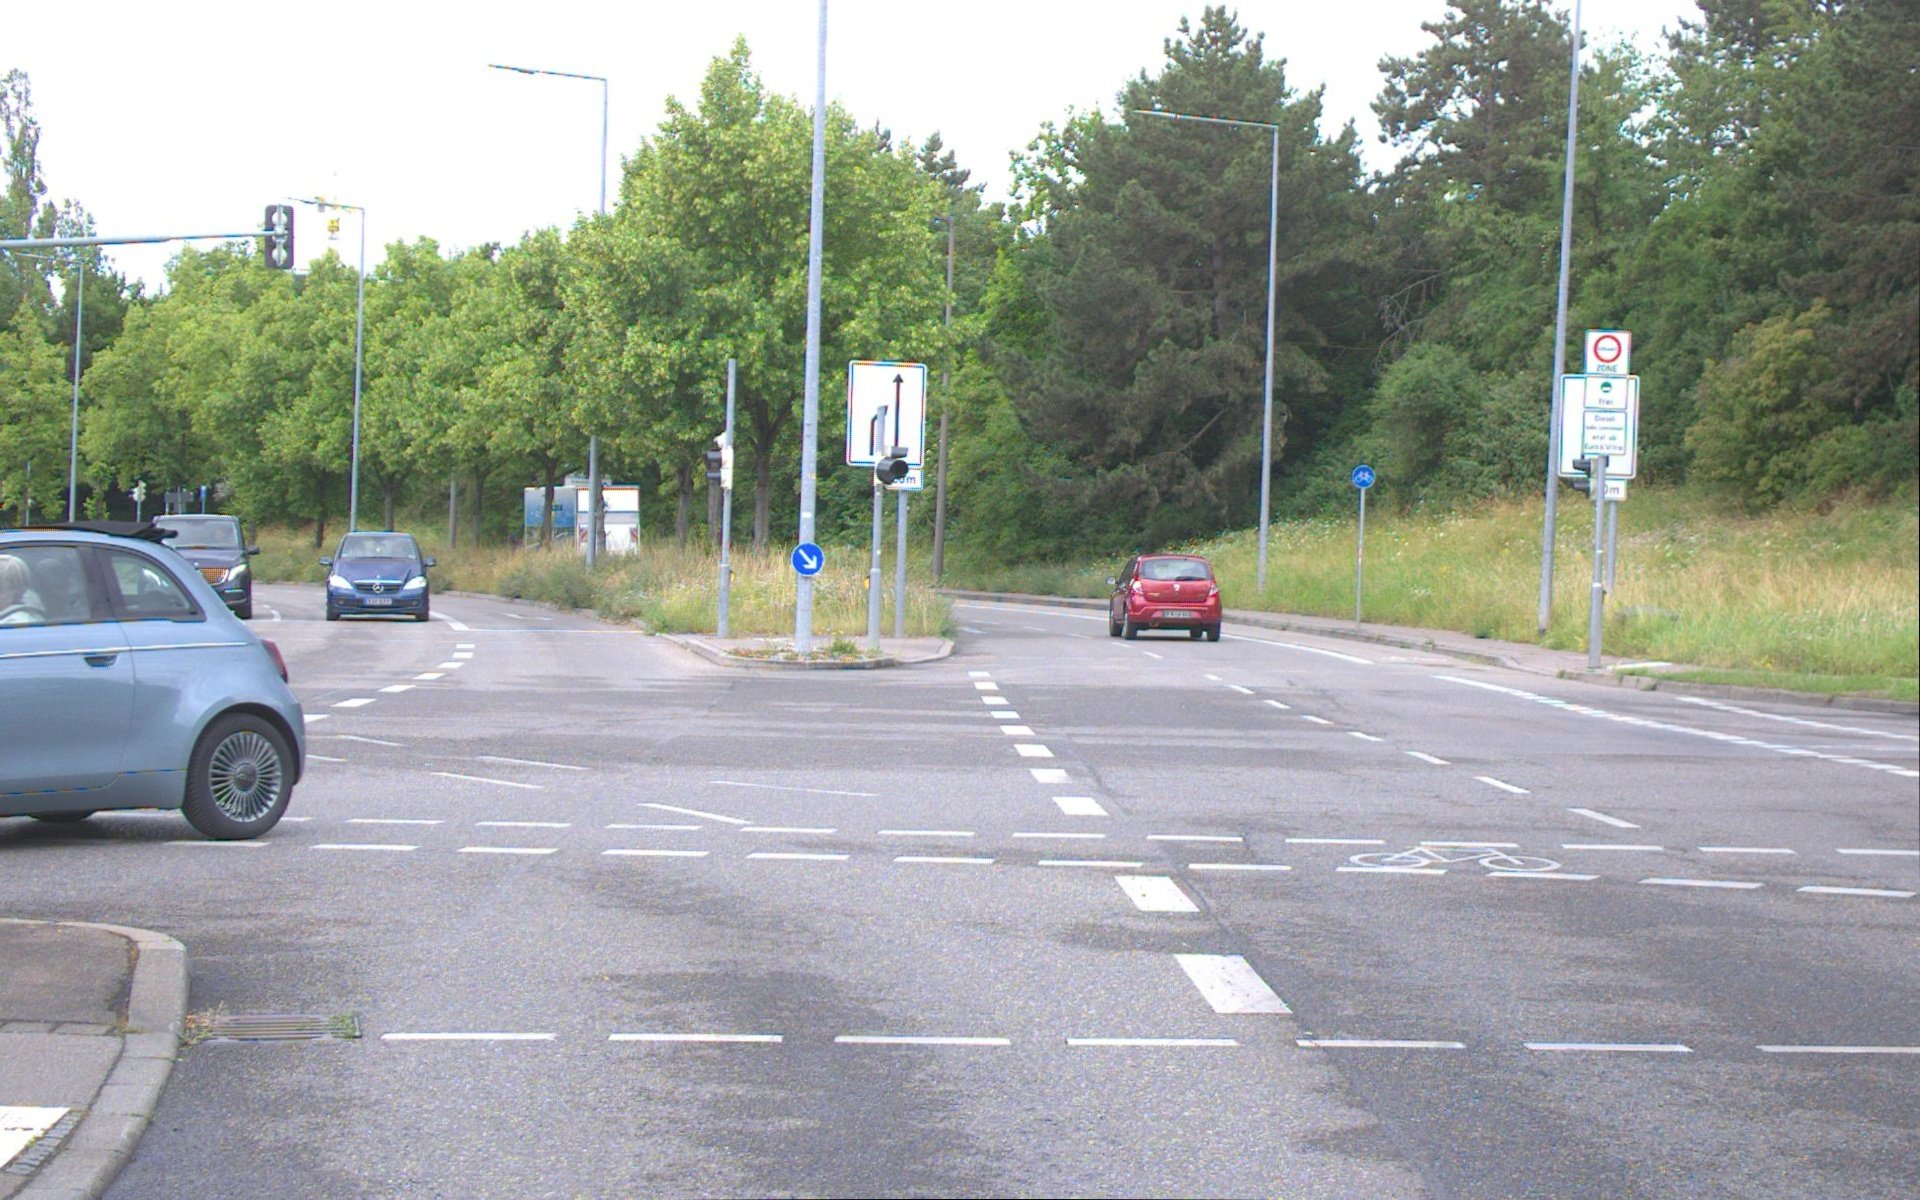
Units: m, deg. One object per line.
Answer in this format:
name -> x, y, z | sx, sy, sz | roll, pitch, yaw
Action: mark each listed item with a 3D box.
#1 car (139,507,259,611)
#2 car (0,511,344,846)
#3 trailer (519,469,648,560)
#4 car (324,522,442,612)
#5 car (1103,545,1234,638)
car -> -13.727, -0.749, 62.214 | 1.887, 1.806, 5.094 | 0, 1, -10
car -> -4.920, 0.344, 16.320 | 1.760, 1.523, 3.592 | 1, 1, 42
trailer -> -12.900, -2.878, 117.369 | 2.746, 3.002, 6.089 | 1, 0, -22
car -> -10.138, -0.583, 60.578 | 1.735, 1.503, 3.661 | 1, 0, -5
car -> 3.706, -0.167, 61.773 | 1.784, 1.598, 3.888 | 1, 0, -5
